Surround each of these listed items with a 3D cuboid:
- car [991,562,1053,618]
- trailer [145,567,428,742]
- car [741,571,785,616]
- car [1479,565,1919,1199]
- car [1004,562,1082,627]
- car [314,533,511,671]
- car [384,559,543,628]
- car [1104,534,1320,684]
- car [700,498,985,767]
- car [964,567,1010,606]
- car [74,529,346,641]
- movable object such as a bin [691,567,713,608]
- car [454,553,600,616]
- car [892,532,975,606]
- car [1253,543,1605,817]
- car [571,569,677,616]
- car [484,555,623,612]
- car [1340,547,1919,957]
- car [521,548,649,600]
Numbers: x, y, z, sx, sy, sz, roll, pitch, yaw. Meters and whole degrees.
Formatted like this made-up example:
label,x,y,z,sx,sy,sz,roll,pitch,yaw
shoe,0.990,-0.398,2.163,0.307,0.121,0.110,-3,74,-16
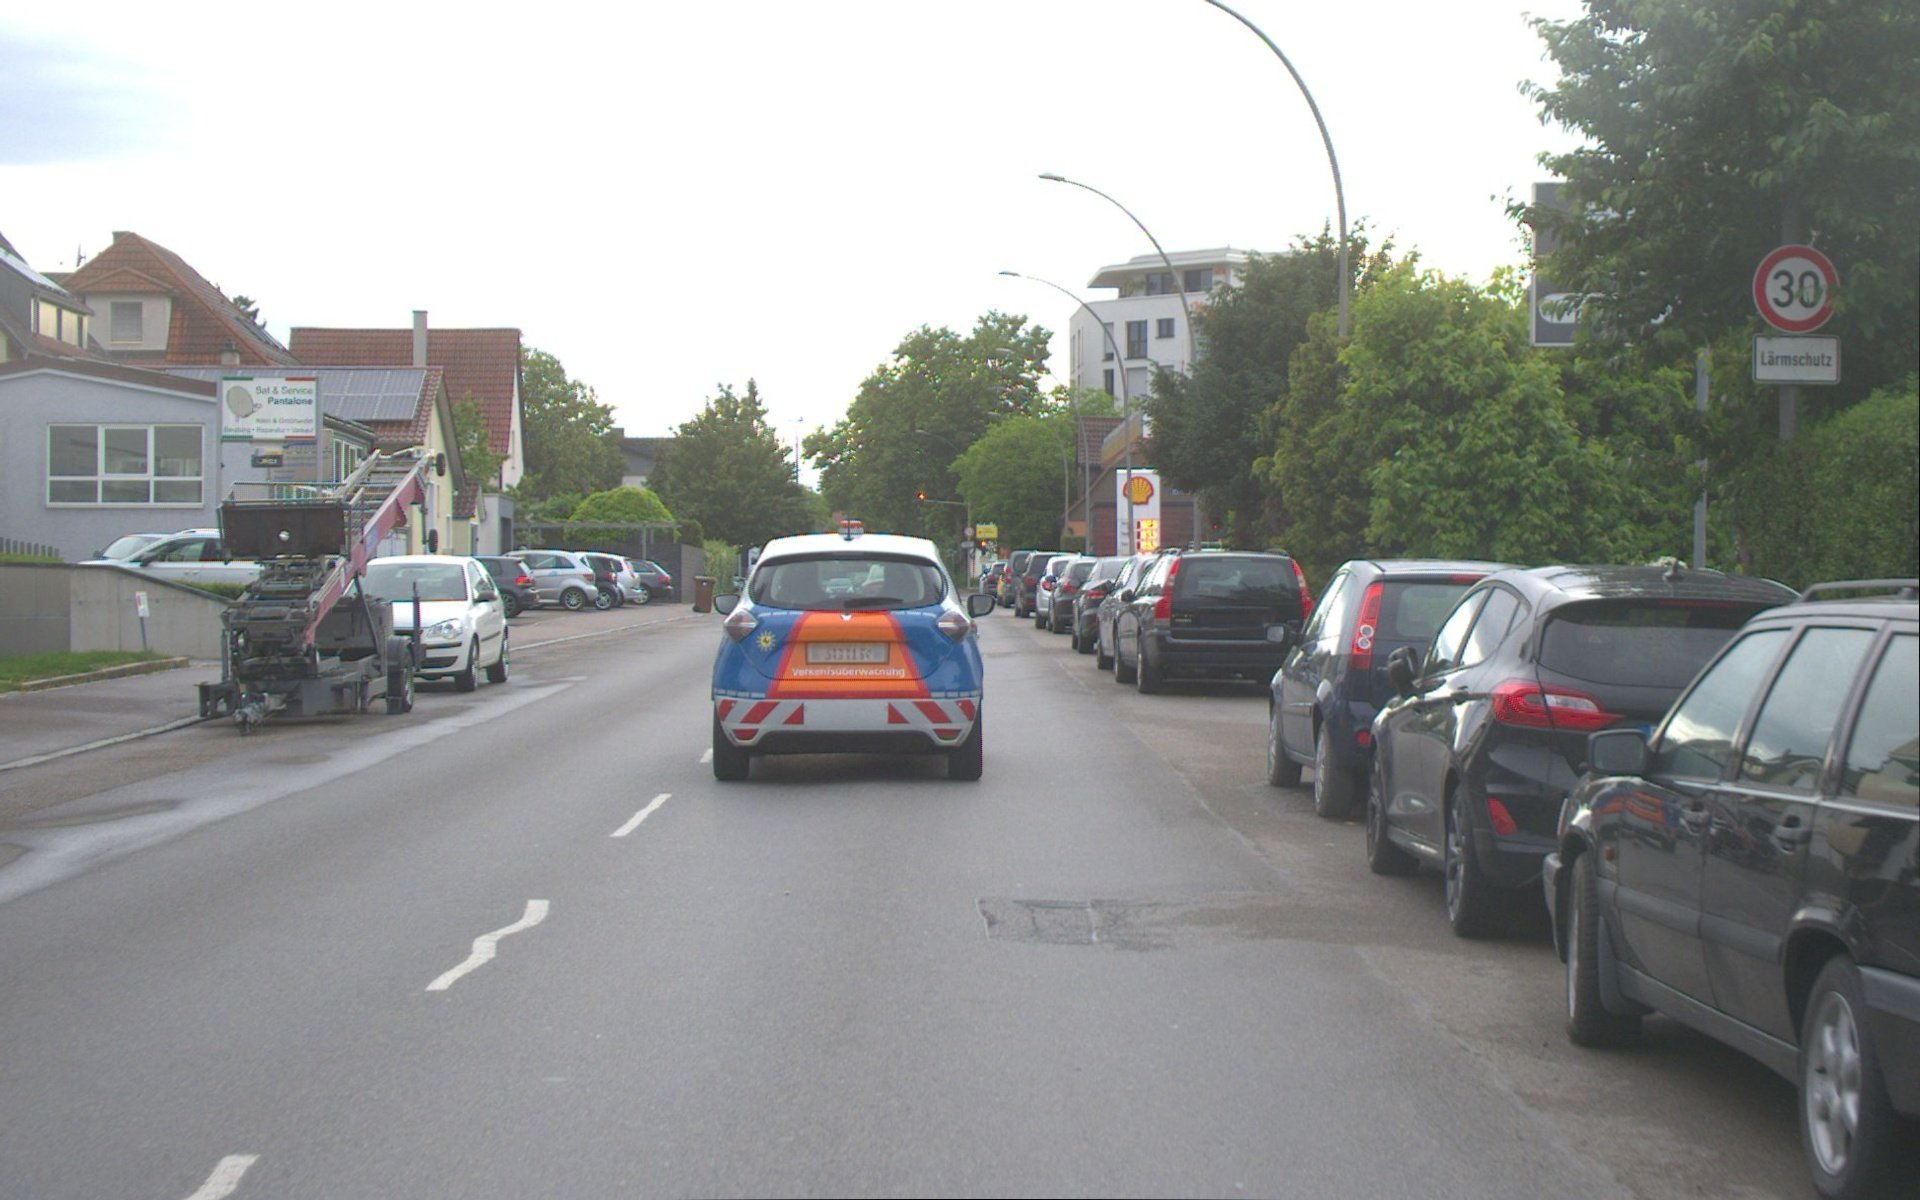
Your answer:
label,x,y,z,sx,sy,sz,roll,pitch,yaw
car,1.914,-0.320,106.694,1.650,1.666,4.000,2,0,-2
trailer,-6.044,0.430,31.410,1.717,1.256,5.245,2,2,-2
car,-6.712,-0.226,117.357,1.386,1.478,3.784,1,1,-2
car,2.699,0.648,9.184,1.656,1.414,4.777,2,0,-3
car,2.033,-0.152,84.920,1.650,1.516,4.000,2,0,-2
car,-6.112,0.009,38.715,1.557,1.428,4.000,2,0,0
car,-11.757,-0.161,81.564,3.580,1.521,1.655,2,0,-4
car,2.600,0.077,36.386,1.711,1.433,4.527,2,0,-3
car,-0.753,0.191,22.767,1.731,1.625,3.495,1,0,-1
car,1.074,-0.544,138.631,1.650,1.478,4.000,2,0,-2
car,-11.368,-0.229,52.257,3.759,1.562,1.655,2,0,-2
movable object such as a bin,-7.685,-0.377,102.433,0.579,1.200,0.318,1,0,0
car,-11.594,-0.417,92.149,3.759,1.571,1.655,2,0,-4
car,-0.595,-0.660,74.186,1.650,1.516,4.000,2,0,-2
car,2.688,0.408,20.426,1.487,1.434,3.807,2,1,-1
car,-10.569,-0.239,108.423,3.281,1.443,1.480,-1,1,-4
car,-11.392,-0.462,96.511,3.759,1.478,1.655,2,0,-4
car,2.701,0.530,14.525,1.657,1.444,3.830,2,1,-1
car,-10.936,-0.763,100.460,3.653,1.478,1.480,-1,1,-4
